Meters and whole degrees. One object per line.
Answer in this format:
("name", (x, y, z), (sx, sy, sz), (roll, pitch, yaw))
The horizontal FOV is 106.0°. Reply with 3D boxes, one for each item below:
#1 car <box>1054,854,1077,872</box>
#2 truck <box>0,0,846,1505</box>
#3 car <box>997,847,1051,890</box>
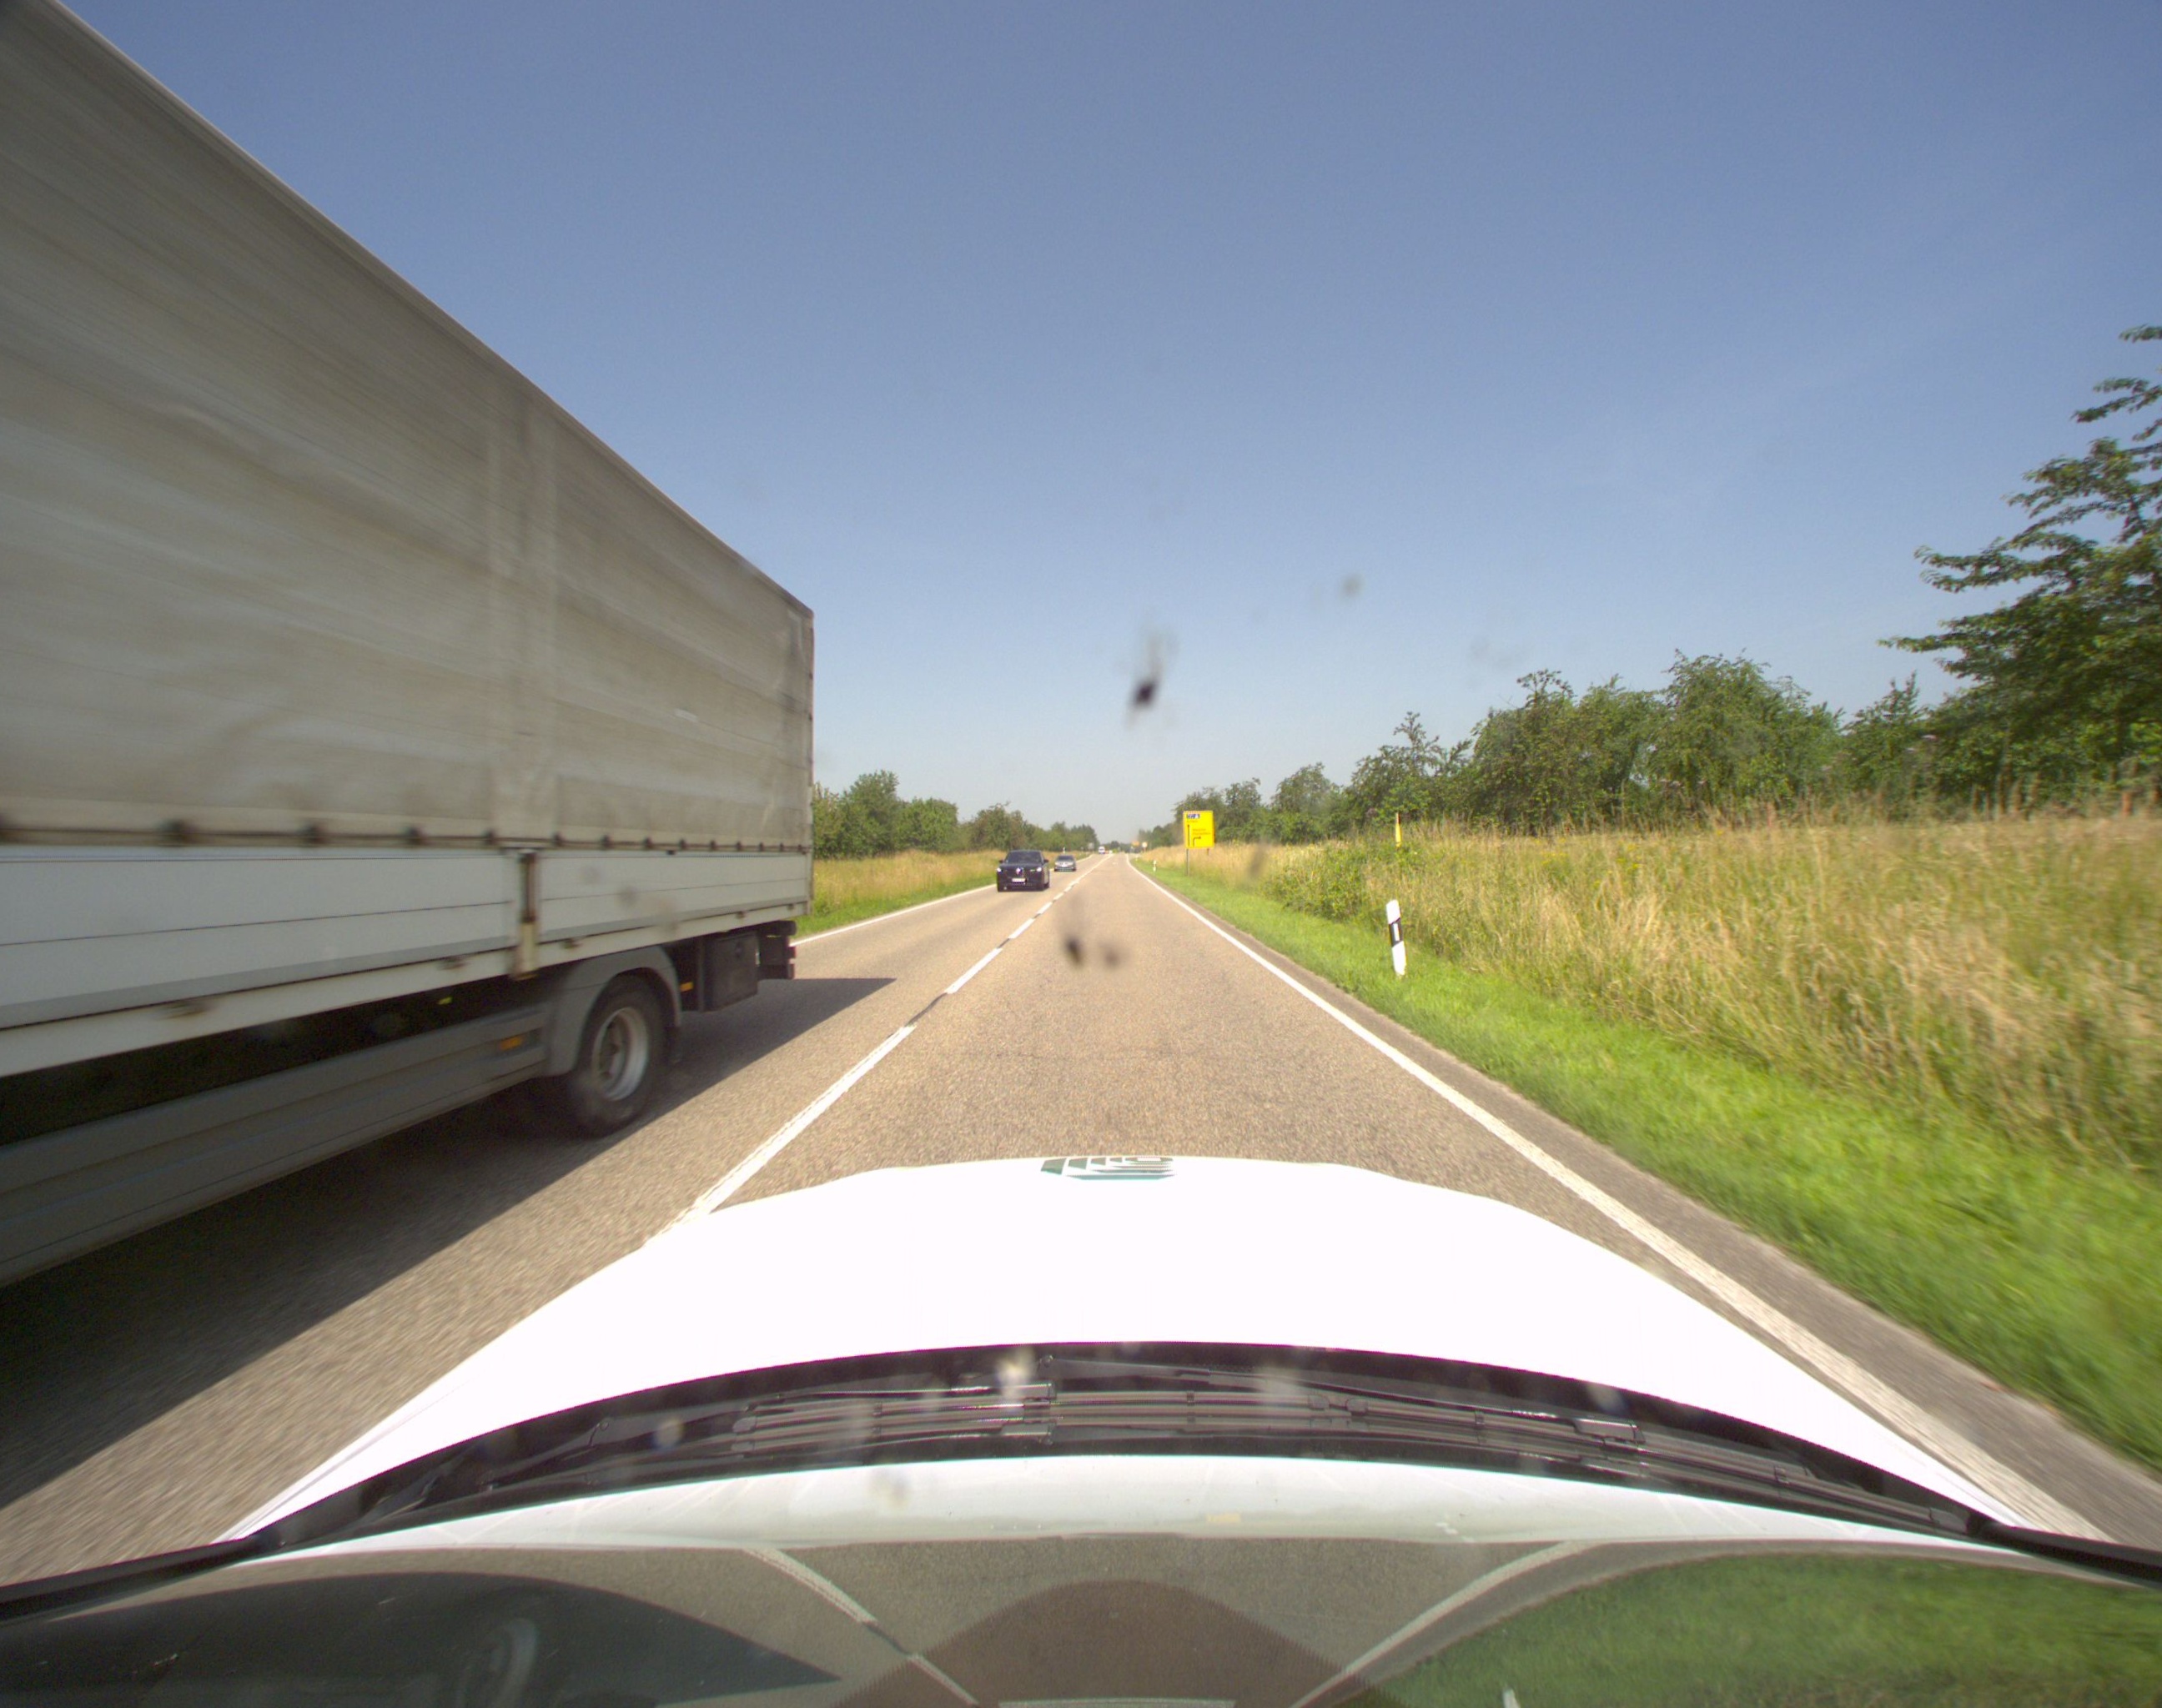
("car", (-1.311, 0.714, 69.371), (1.684, 1.408, 4.896), (-2, 0, 1))
("truck", (-3.846, -0.378, 2.940), (2.655, 3.838, 10.212), (-2, 0, 2))
("car", (-2.347, 0.568, 34.522), (1.829, 1.678, 4.412), (-2, 0, 1))
